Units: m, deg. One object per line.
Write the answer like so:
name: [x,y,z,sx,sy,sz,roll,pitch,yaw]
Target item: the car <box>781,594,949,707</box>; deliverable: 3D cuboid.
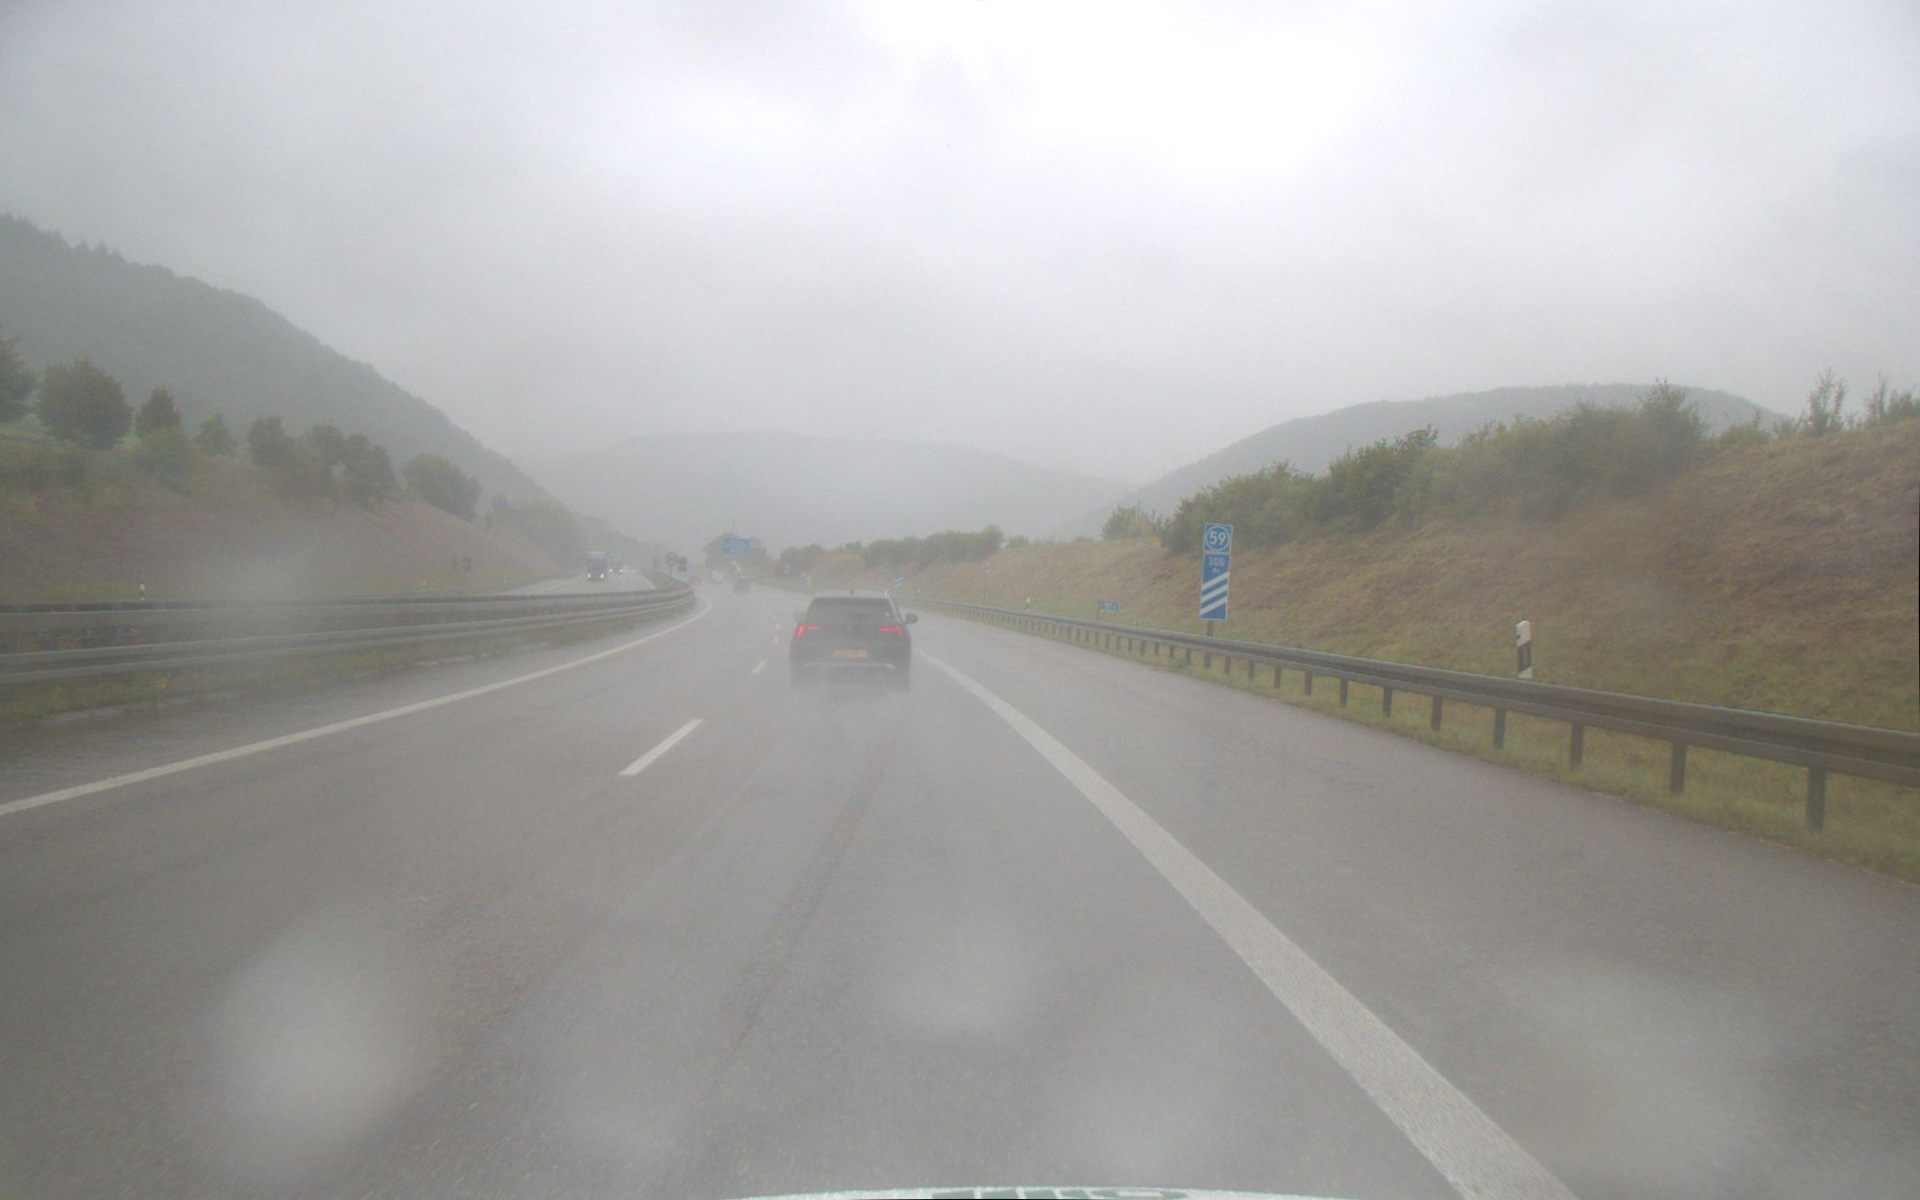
car: [-1.507,0.750,26.163,2.358,1.542,4.780,2,-1,-4]
